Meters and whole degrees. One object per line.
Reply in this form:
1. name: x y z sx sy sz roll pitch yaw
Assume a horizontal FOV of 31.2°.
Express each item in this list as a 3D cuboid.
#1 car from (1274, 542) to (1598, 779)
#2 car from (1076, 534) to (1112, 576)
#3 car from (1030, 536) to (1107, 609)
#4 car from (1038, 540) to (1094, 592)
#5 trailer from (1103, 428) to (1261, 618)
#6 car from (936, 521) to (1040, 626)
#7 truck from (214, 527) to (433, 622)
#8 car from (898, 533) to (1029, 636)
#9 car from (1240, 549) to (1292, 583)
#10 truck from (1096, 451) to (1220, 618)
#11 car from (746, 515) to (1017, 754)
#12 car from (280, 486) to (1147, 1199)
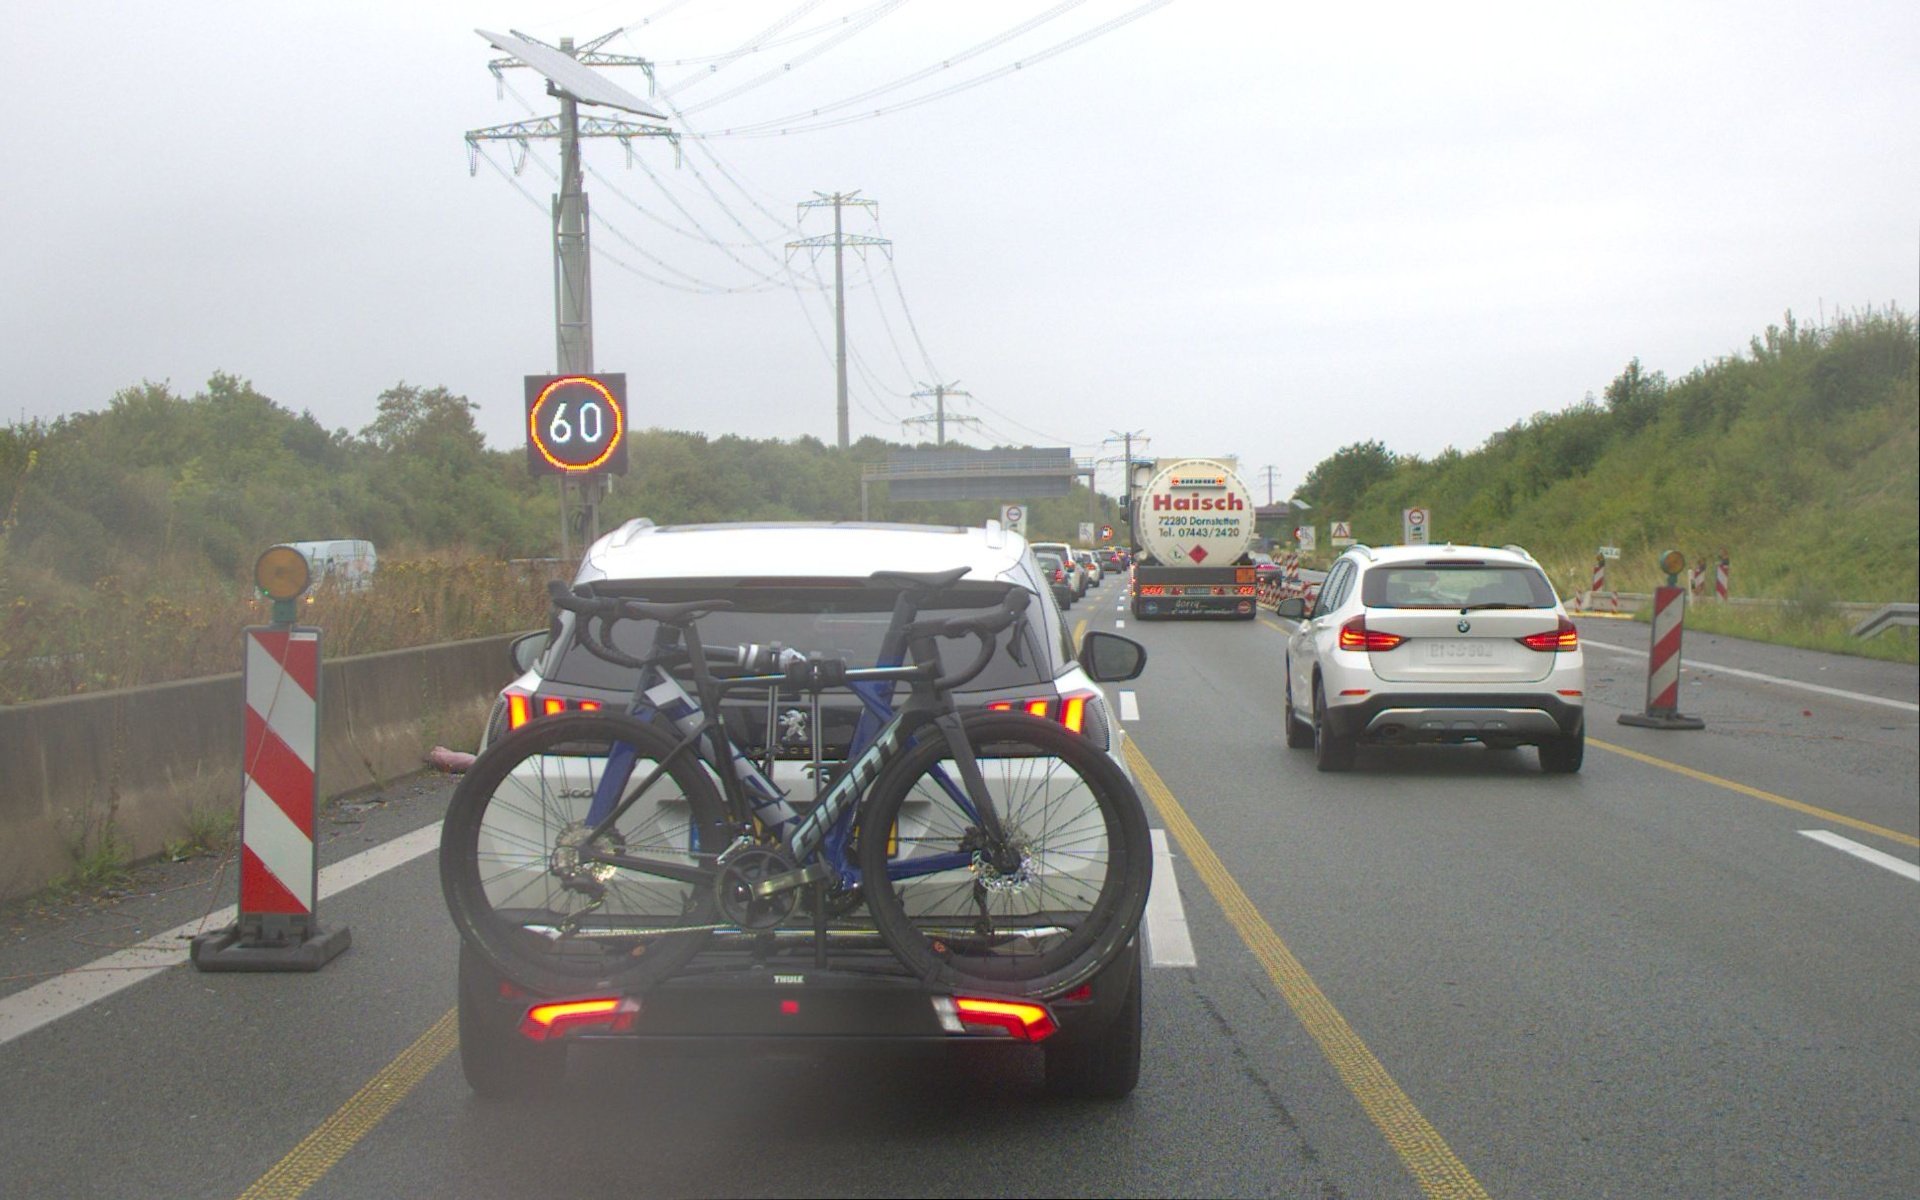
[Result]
1. car: 3.260 0.360 24.288 1.870 1.529 4.196 0 1 2
2. car: 6.503 -2.181 166.518 1.654 2.007 4.000 0 1 4
3. car: 3.040 -0.774 97.284 1.993 2.007 4.000 1 0 0
4. car: 4.148 -1.332 135.145 1.993 2.007 4.000 1 0 0
5. trailer: 4.782 -1.620 75.976 2.637 3.880 10.544 1 0 -1
6. car: 0.533 -0.561 69.949 1.993 2.007 4.000 -2 1 0
7. truck: -17.352 -0.726 94.032 1.997 2.419 6.422 -1 2 32
8. car: 0.029 -0.275 54.479 1.993 1.578 4.000 0 1 -1
9. car: 11.161 -1.247 125.590 1.482 1.157 3.907 -1 1 -1
10. truck: 4.712 -1.538 82.517 2.644 3.877 4.030 1 0 -1
11. car: -0.559 0.220 27.955 1.993 1.754 4.000 -1 1 1
12. car: -0.482 0.515 9.942 1.928 1.605 4.595 0 1 2
